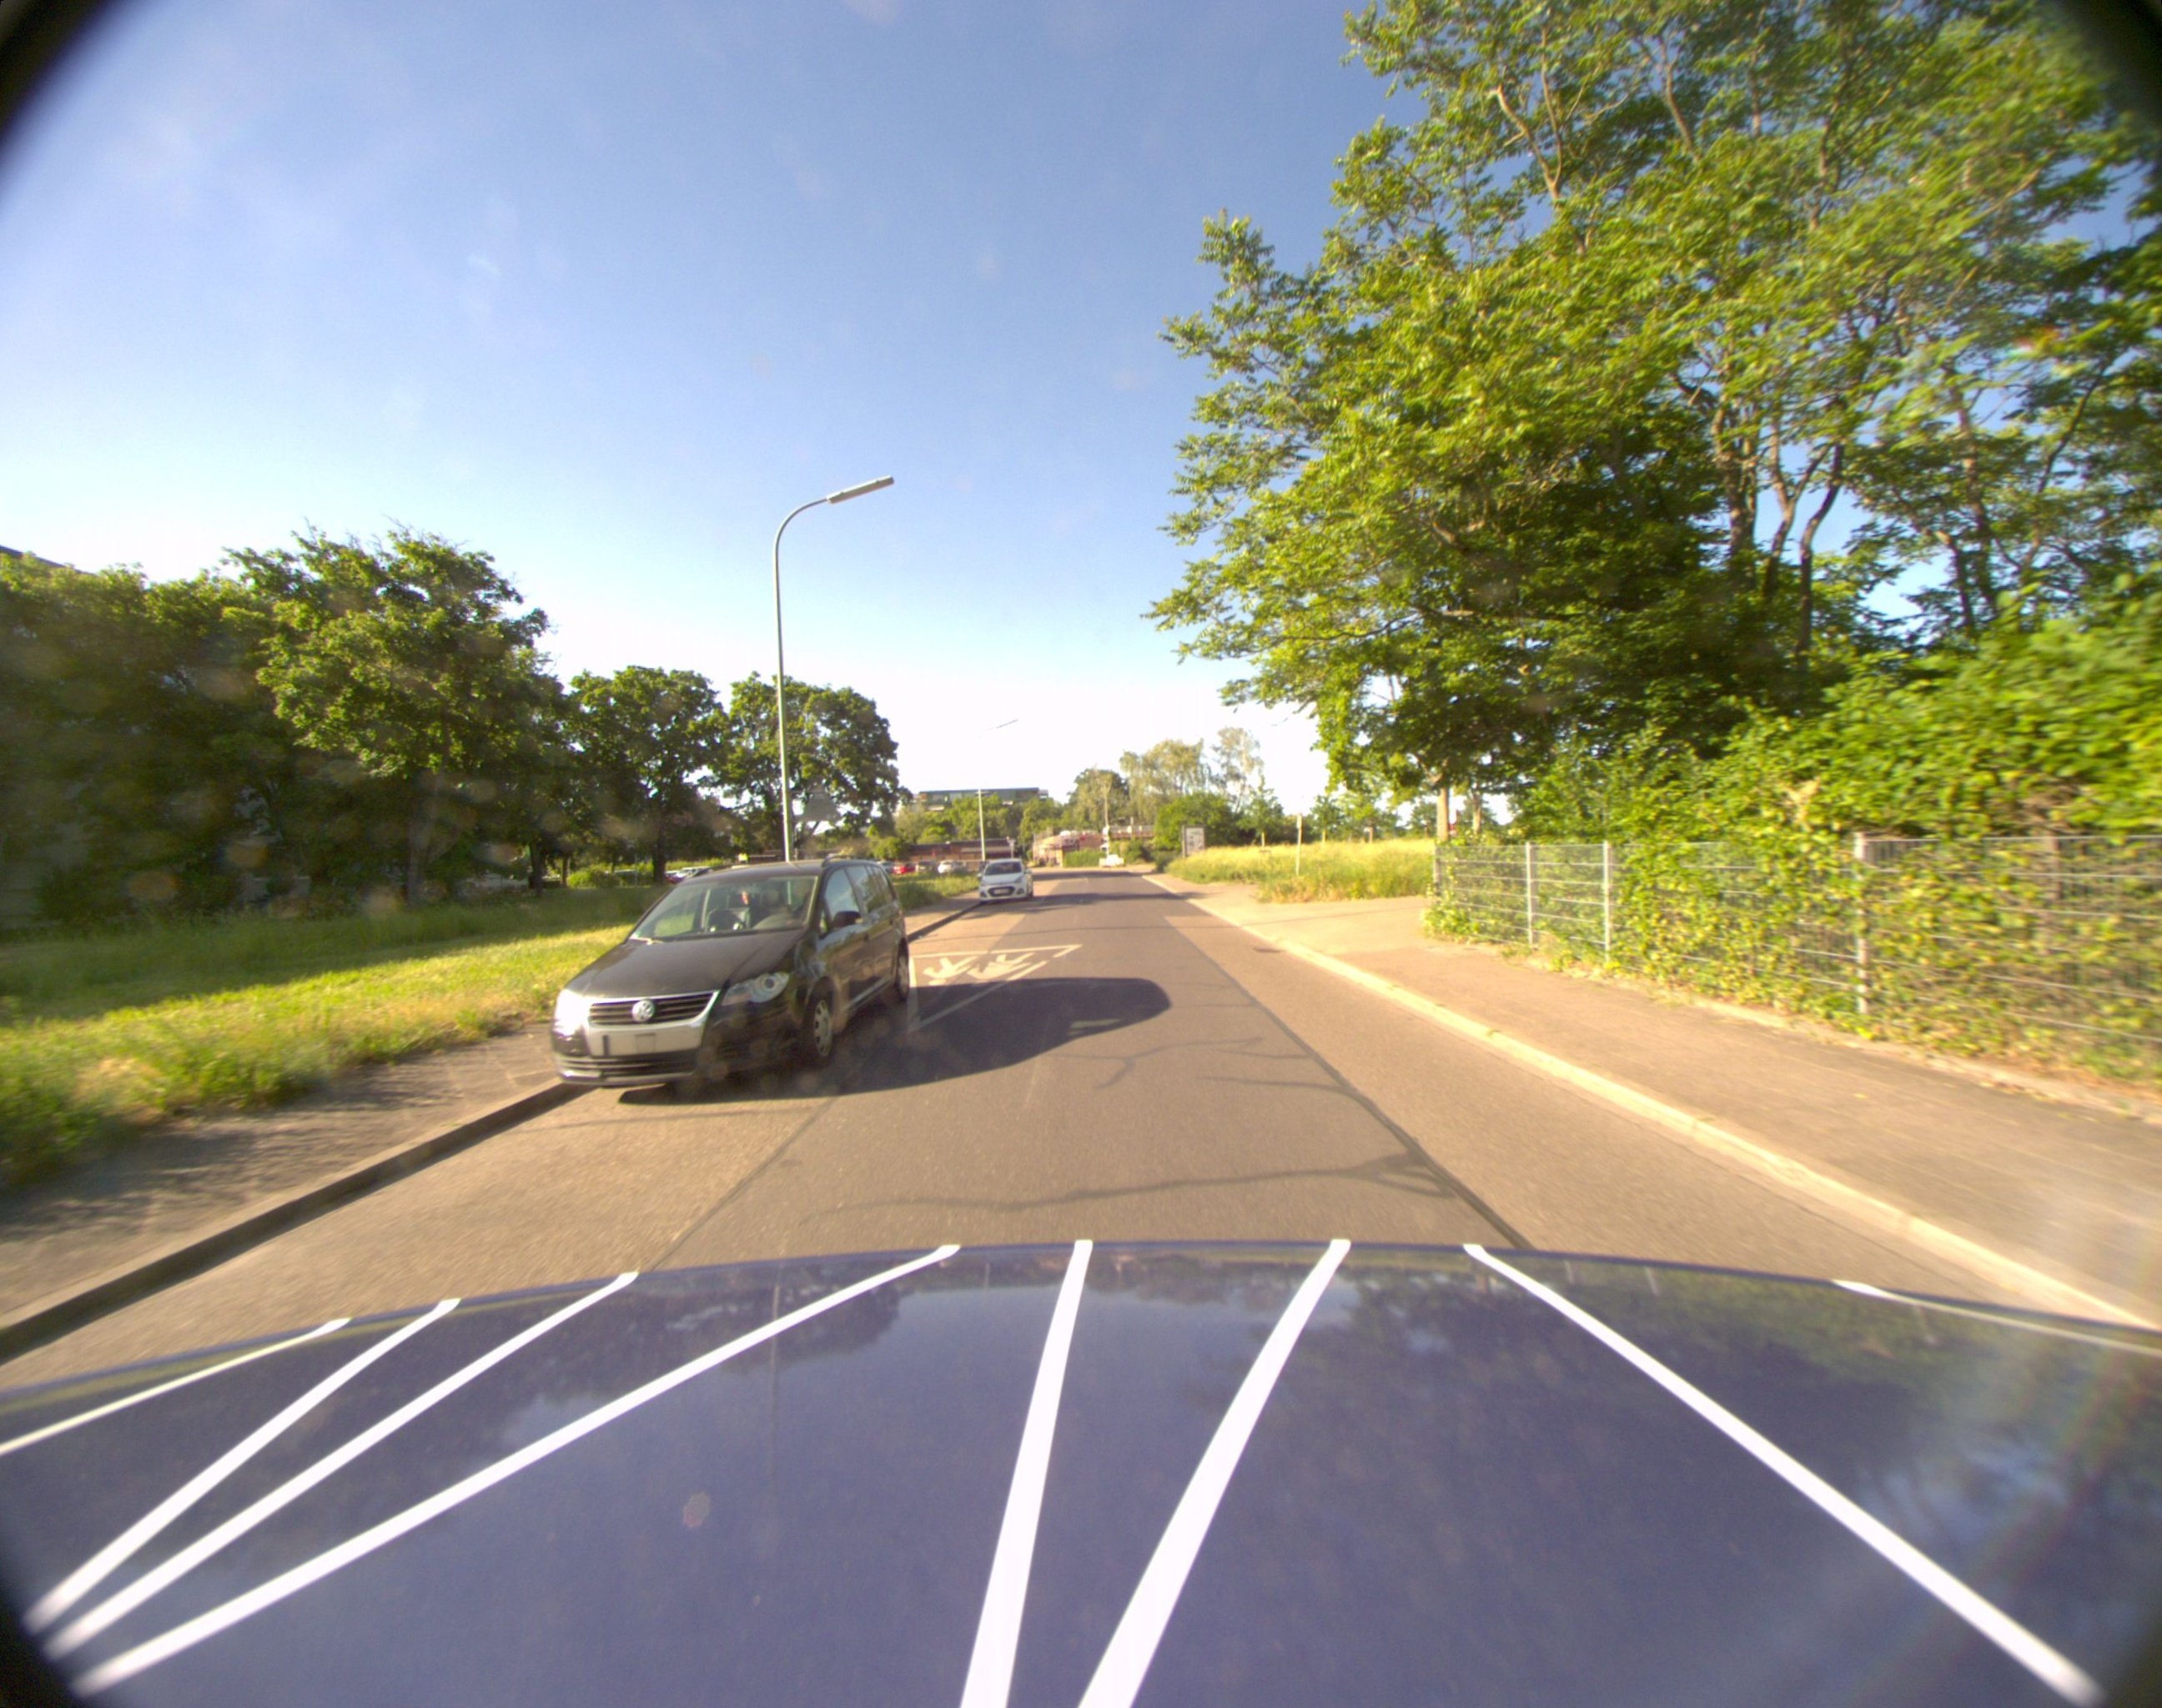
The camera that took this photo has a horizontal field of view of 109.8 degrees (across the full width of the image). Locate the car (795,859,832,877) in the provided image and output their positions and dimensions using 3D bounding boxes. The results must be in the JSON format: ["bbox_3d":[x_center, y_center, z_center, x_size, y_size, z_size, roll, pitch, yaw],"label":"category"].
[{"bbox_3d":[-30.592,1.611,86.973,1.953,1.763,4.003,-2,2,14],"label":"car"}]

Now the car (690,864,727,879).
[{"bbox_3d":[-44.604,2.099,91.121,1.798,1.552,4.004,-2,0,14],"label":"car"}]

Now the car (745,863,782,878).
[{"bbox_3d":[-37.062,1.875,88.771,1.953,1.552,4.004,-2,0,14],"label":"car"}]

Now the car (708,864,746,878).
[{"bbox_3d":[-42.147,2.018,90.460,1.953,1.552,4.004,-2,0,14],"label":"car"}]

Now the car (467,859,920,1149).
[{"bbox_3d":[-2.862,0.941,6.945,1.843,1.642,4.467,-4,0,-2],"label":"car"}]

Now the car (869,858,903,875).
[{"bbox_3d":[-21.307,1.341,83.357,1.858,1.763,4.004,-2,0,14],"label":"car"}]

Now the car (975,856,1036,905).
[{"bbox_3d":[-2.615,0.896,27.234,1.656,1.471,3.916,-4,0,1],"label":"car"}]

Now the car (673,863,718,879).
[{"bbox_3d":[-46.766,2.051,92.274,1.953,1.735,4.709,-2,0,18],"label":"car"}]

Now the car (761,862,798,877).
[{"bbox_3d":[-34.978,1.823,88.146,1.953,1.552,4.004,-2,0,14],"label":"car"}]

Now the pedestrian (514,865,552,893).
[{"bbox_3d":[-40.842,1.841,56.676,1.490,2.020,1.699,-2,1,3],"label":"pedestrian"}]

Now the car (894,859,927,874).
[{"bbox_3d":[-18.707,1.371,83.594,1.862,1.461,4.004,-2,0,14],"label":"car"}]

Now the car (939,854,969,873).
[{"bbox_3d":[-13.697,1.033,82.080,1.954,1.849,4.002,-2,0,9],"label":"car"}]

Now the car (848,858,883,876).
[{"bbox_3d":[-23.797,1.416,83.970,1.953,1.763,4.004,-2,0,14],"label":"car"}]

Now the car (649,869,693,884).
[{"bbox_3d":[-42.829,2.330,79.399,3.632,1.442,2.002,-2,1,18],"label":"car"}]

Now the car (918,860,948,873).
[{"bbox_3d":[-16.045,1.333,82.458,1.779,1.316,4.003,-2,0,11],"label":"car"}]

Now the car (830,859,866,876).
[{"bbox_3d":[-26.108,1.499,85.326,1.953,1.763,4.004,-2,0,14],"label":"car"}]
